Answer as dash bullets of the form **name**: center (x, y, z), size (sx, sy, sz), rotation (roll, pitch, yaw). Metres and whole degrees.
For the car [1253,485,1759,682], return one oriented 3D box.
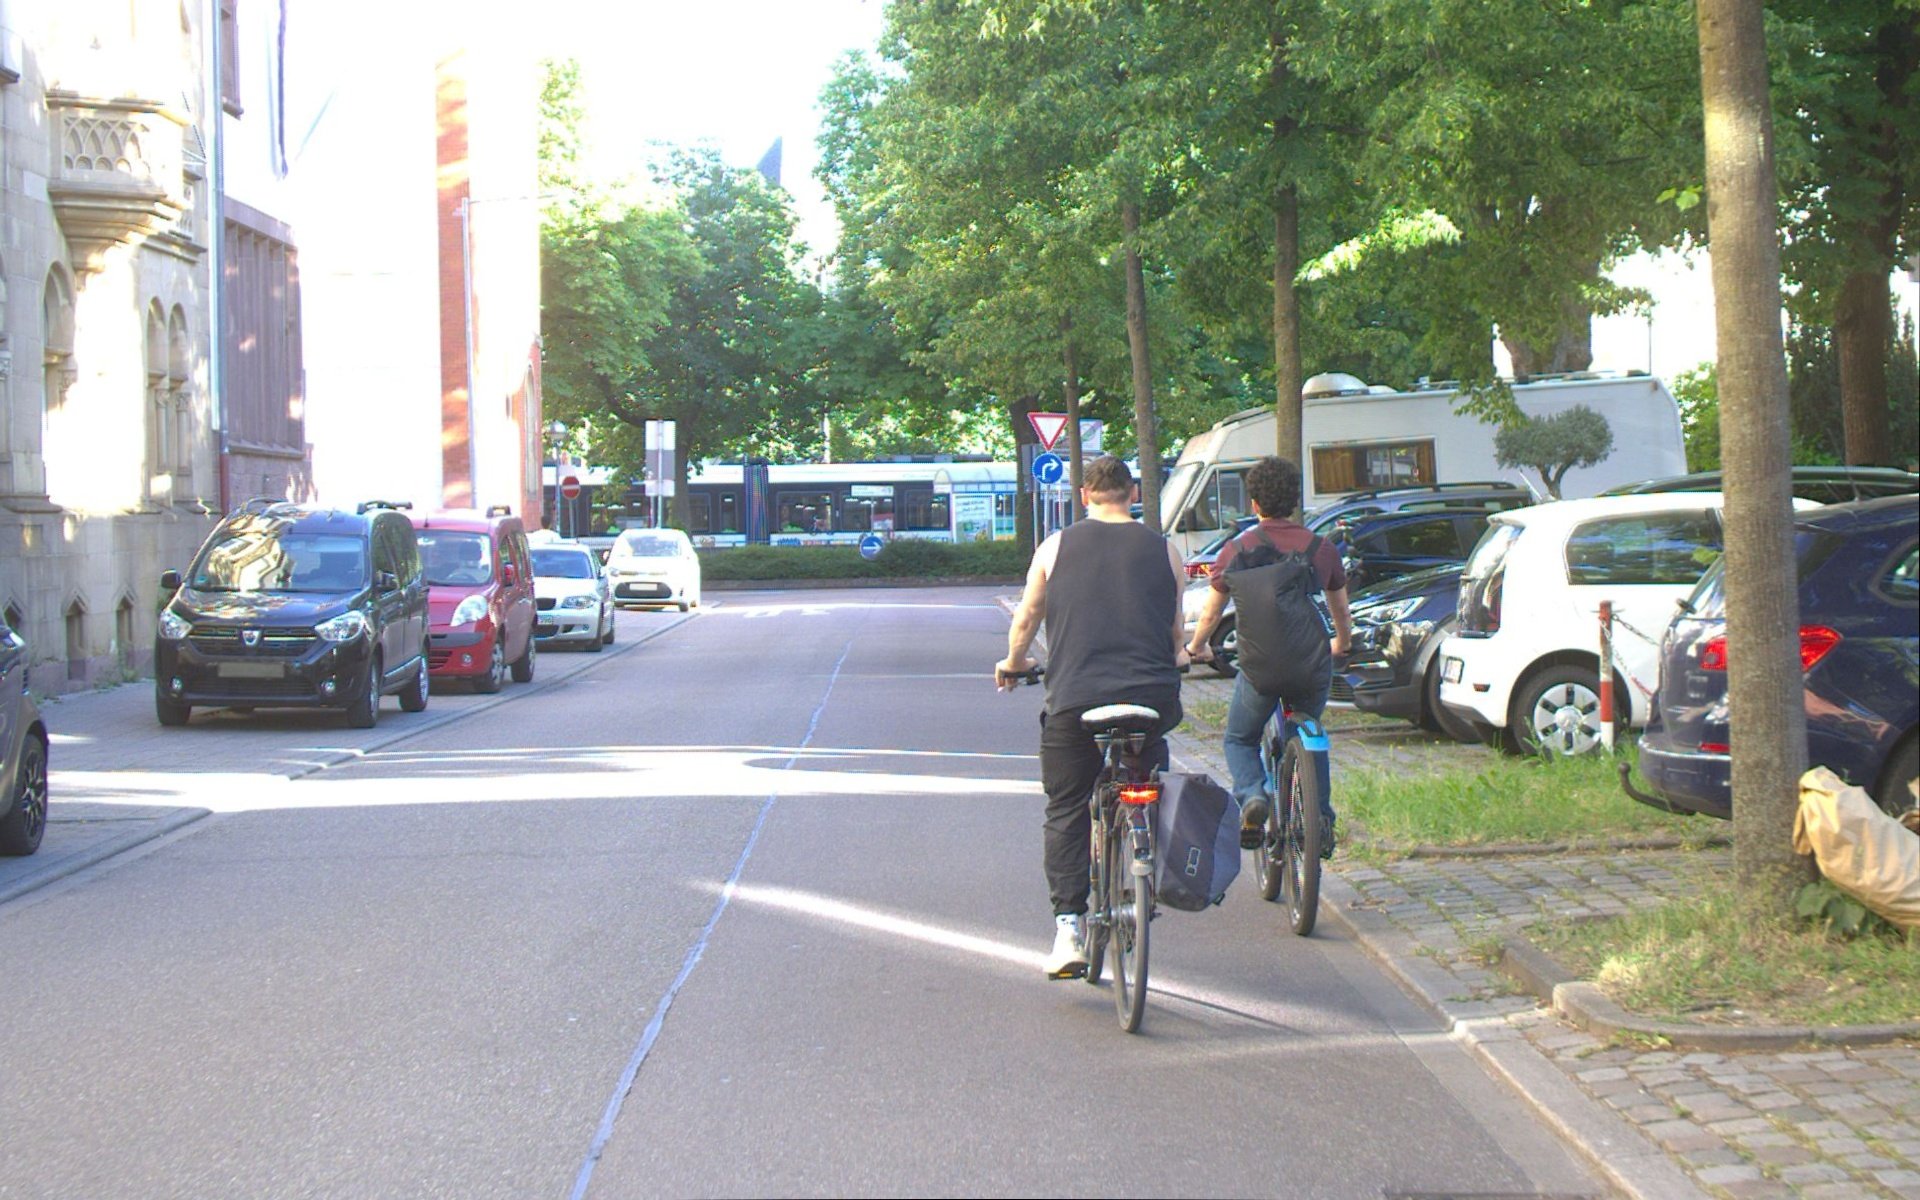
- **car**: center (4.796, -0.139, 30.545), size (4.138, 1.594, 1.703), rotation (-2, 0, -3)

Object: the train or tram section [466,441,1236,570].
- **train or tram section**: center (-3.075, -2.803, 106.236), size (23.800, 3.696, 4.287), rotation (0, 1, -22)

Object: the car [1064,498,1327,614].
- **car**: center (3.726, -0.704, 54.896), size (3.986, 1.797, 1.834), rotation (0, 1, -3)

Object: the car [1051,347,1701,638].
- **car**: center (4.806, -1.256, 40.491), size (7.146, 2.968, 2.465), rotation (-3, 1, -3)

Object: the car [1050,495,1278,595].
- **car**: center (3.696, -0.998, 62.780), size (3.986, 1.797, 1.834), rotation (0, 1, -3)

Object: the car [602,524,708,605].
- **car**: center (-5.628, -0.683, 63.797), size (1.583, 1.371, 4.131), rotation (1, 2, 0)

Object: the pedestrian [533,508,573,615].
- **pedestrian**: center (-6.694, -0.630, 56.526), size (0.609, 1.756, 0.432), rotation (0, 1, 0)

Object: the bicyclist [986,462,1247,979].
- **bicyclist**: center (0.473, 0.359, 10.756), size (0.729, 1.542, 0.885), rotation (1, 0, -2)

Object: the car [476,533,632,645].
- **car**: center (-5.369, -0.177, 45.876), size (1.583, 1.339, 4.131), rotation (1, 2, 0)

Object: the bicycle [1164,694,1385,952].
- **bicycle**: center (1.169, 0.816, 13.096), size (0.633, 0.796, 1.833), rotation (-2, 2, -1)

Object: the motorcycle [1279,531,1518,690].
- **motorcycle**: center (3.252, 0.079, 25.520), size (1.606, 1.137, 0.671), rotation (-1, 1, 33)

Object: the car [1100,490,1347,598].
- **car**: center (4.463, -0.943, 58.649), size (3.986, 1.797, 1.834), rotation (0, 1, -3)

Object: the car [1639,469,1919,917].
- **car**: center (4.897, 0.293, 13.202), size (4.223, 1.594, 1.691), rotation (-2, -1, 1)

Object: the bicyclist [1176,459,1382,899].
- **bicyclist**: center (1.206, 0.279, 13.164), size (0.689, 1.621, 0.998), rotation (0, 1, 0)

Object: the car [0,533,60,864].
- **car**: center (-5.134, 0.443, 15.263), size (1.595, 1.484, 2.737), rotation (2, 2, -2)

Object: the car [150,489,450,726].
- **car**: center (-5.380, -0.011, 28.505), size (1.640, 1.777, 4.354), rotation (1, 2, 0)

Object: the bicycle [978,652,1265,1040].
- **bicycle**: center (0.466, 0.719, 10.797), size (0.737, 1.050, 1.956), rotation (1, 1, -2)

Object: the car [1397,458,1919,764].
- **car**: center (4.488, 0.052, 19.556), size (3.773, 1.594, 1.691), rotation (-2, -1, 1)

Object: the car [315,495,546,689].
- **car**: center (-5.352, -0.141, 35.197), size (1.688, 1.819, 4.273), rotation (1, 2, 0)

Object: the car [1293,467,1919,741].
- **car**: center (4.305, 0.027, 22.154), size (4.139, 1.594, 1.702), rotation (-2, -1, 1)

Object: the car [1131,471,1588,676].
- **car**: center (3.812, -0.267, 33.218), size (4.082, 1.644, 1.641), rotation (-4, 1, -2)
